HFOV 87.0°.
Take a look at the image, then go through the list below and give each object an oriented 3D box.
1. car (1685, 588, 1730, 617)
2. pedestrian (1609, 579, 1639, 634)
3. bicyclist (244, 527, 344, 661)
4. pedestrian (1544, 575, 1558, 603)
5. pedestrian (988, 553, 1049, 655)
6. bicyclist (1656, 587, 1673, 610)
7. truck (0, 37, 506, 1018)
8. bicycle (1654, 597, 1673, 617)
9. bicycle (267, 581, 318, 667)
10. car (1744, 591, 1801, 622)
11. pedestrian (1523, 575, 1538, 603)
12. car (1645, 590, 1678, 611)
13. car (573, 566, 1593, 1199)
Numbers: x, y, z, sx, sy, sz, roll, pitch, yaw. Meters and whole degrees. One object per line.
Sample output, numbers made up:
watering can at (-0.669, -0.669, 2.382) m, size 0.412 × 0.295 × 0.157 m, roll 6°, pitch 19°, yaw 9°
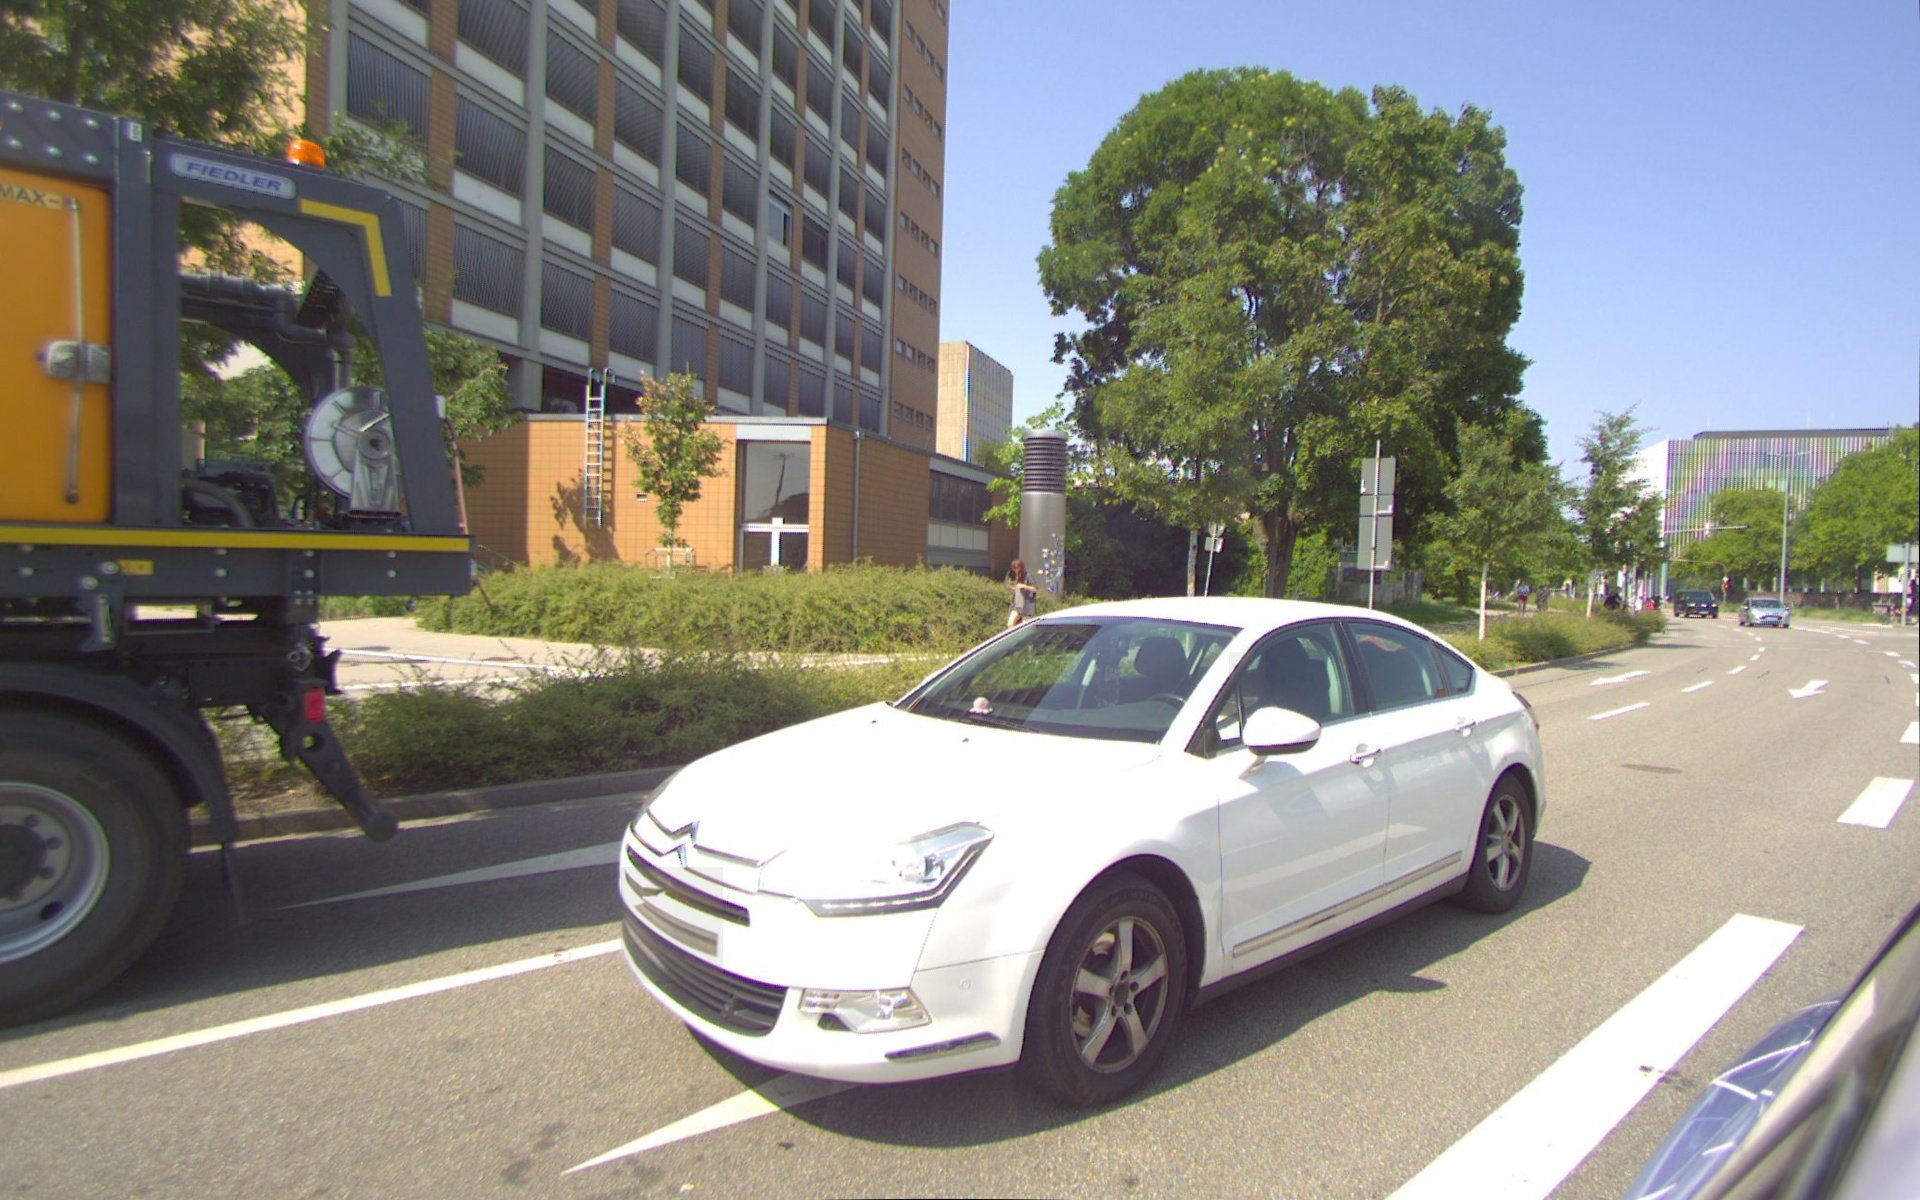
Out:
car at (52.103, 0.152, 70.609) m, size 1.874 × 1.943 × 4.489 m, roll 1°, pitch 1°, yaw 28°
pedestrian at (23.745, 0.213, 36.209) m, size 0.818 × 1.926 × 0.622 m, roll 2°, pitch 1°, yaw 37°
bicyclist at (-8.477, -0.092, 12.885) m, size 0.890 × 1.625 × 0.922 m, roll 1°, pitch 1°, yaw -45°
pedestrian at (28.206, -0.536, 48.329) m, size 0.572 × 1.315 × 0.433 m, roll 0°, pitch 0°, yaw 31°
pedestrian at (1.013, 0.052, 17.541) m, size 0.792 × 1.720 × 0.671 m, roll 0°, pitch 1°, yaw -43°
bicyclist at (44.216, -0.105, 63.537) m, size 0.673 × 1.417 × 1.040 m, roll 2°, pitch 1°, yaw 26°
truck at (-5.309, -0.260, 3.112) m, size 6.736 × 3.174 × 2.498 m, roll 0°, pitch 1°, yaw -39°
bicycle at (44.249, 0.440, 63.663) m, size 0.588 × 1.183 × 2.216 m, roll 2°, pitch 1°, yaw 25°
bicycle at (-8.574, 0.276, 12.973) m, size 0.351 × 0.992 × 1.780 m, roll 1°, pitch 2°, yaw -39°
car at (43.038, 0.306, 53.688) m, size 1.645 × 1.550 × 4.486 m, roll 0°, pitch 0°, yaw 29°
pedestrian at (27.508, -0.531, 48.793) m, size 0.630 × 1.315 × 0.481 m, roll 0°, pitch 0°, yaw 32°
car at (49.780, 0.019, 71.886) m, size 1.637 × 1.449 × 3.775 m, roll 1°, pitch 1°, yaw 30°
car at (0.928, 0.634, 4.365) m, size 4.528 × 1.446 × 1.772 m, roll 0°, pitch 2°, yaw -41°
